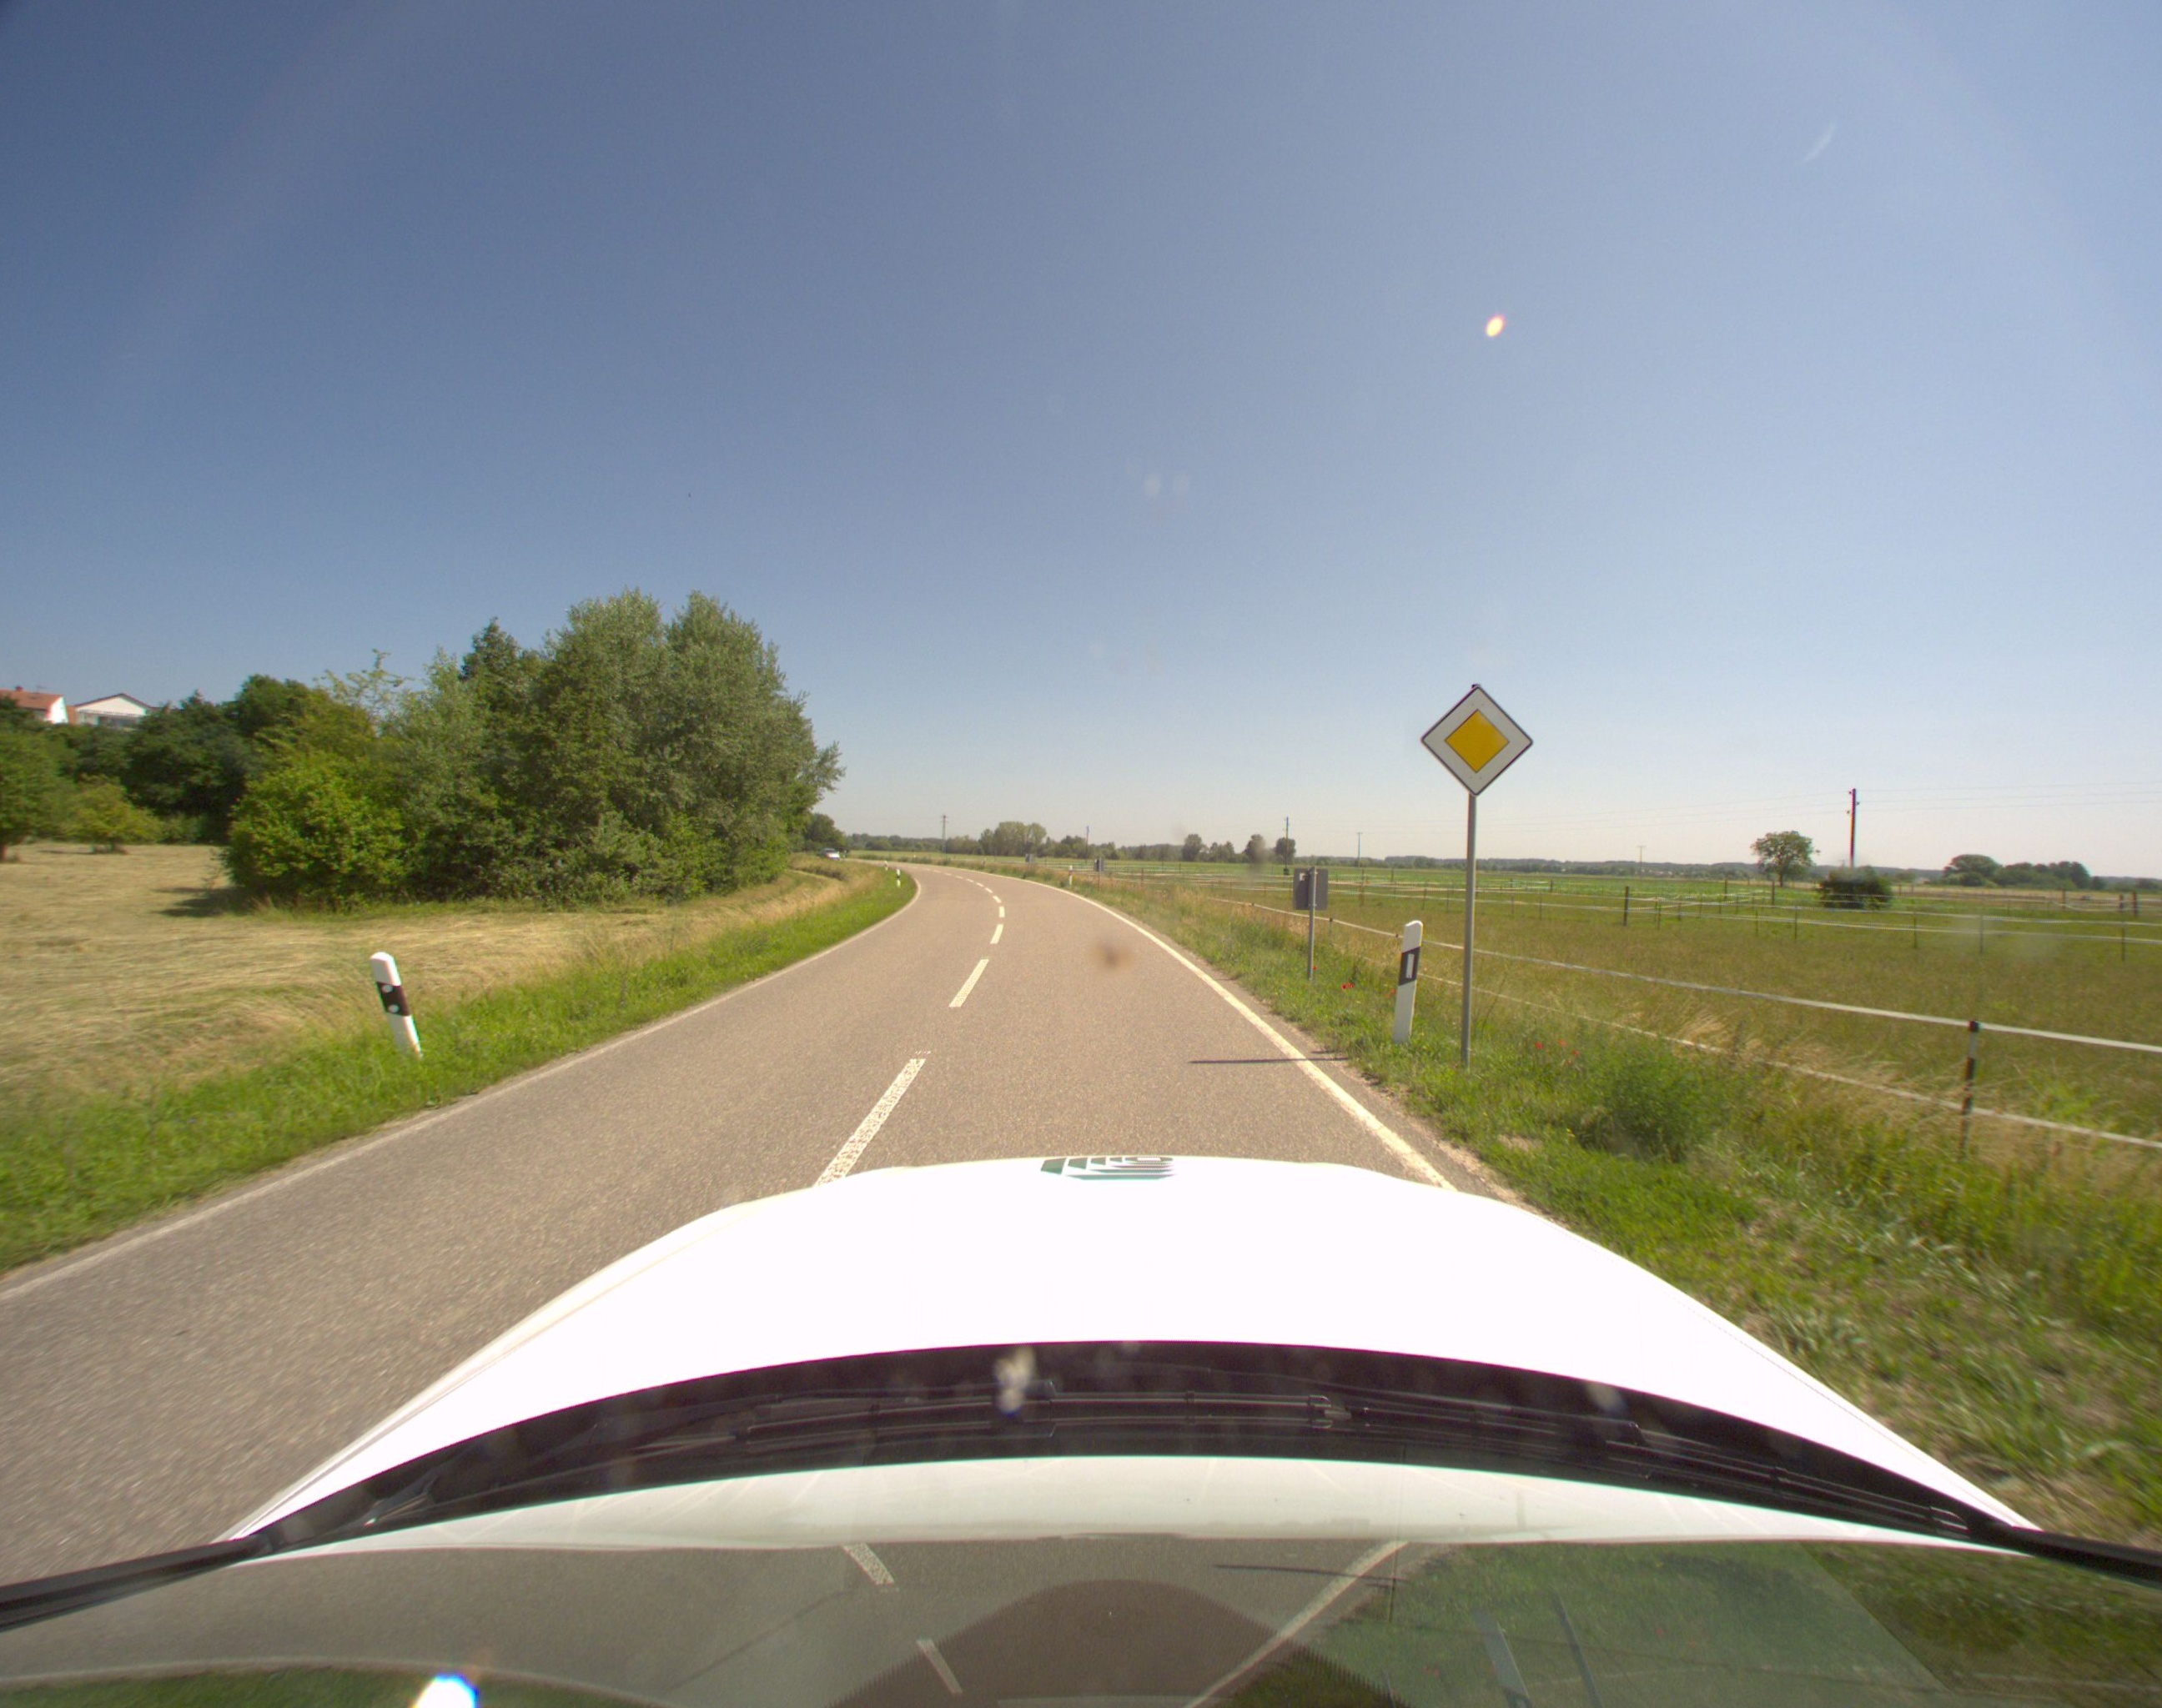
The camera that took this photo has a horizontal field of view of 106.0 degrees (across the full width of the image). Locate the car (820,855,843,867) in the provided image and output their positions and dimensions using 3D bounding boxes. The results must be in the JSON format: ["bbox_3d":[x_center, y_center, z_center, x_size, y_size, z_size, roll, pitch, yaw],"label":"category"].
[{"bbox_3d":[-31.137,0.909,101.577,1.795,1.427,4.020,-2,1,-31],"label":"car"}]
